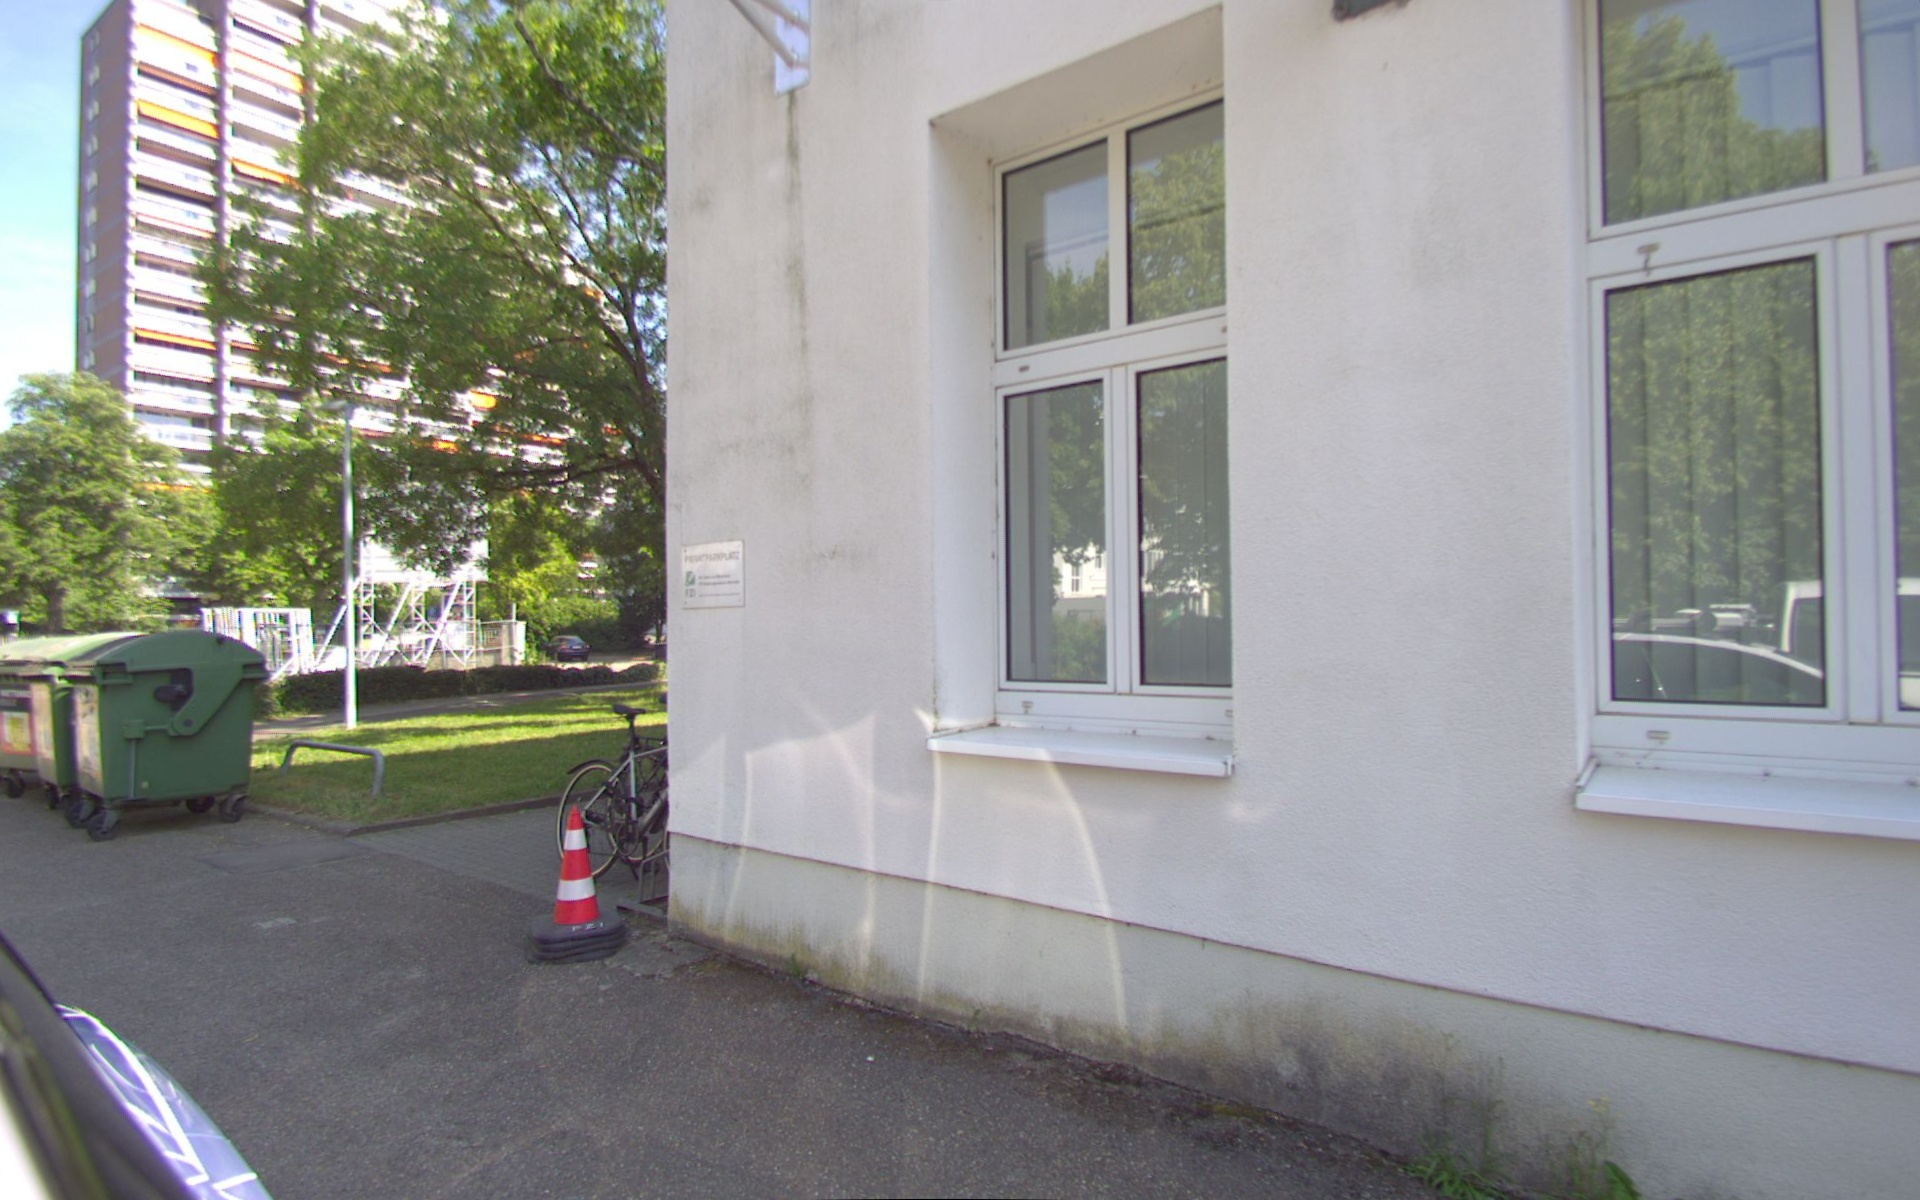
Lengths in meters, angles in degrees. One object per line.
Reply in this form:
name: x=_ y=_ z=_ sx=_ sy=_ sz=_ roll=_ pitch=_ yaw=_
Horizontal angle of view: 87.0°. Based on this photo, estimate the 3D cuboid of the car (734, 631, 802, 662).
car: x=-10.385 y=2.505 z=54.578 sx=1.779 sy=1.577 sz=4.399 roll=1 pitch=-3 yaw=-38

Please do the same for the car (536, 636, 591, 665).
car: x=-22.253 y=2.806 z=56.724 sx=1.813 sy=1.421 sz=4.156 roll=-1 pitch=0 yaw=-37

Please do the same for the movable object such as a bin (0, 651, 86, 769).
movable object such as a bin: x=-12.016 y=1.365 z=12.851 sx=1.227 sy=1.407 sz=1.407 roll=1 pitch=-2 yaw=-35

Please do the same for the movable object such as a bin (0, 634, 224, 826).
movable object such as a bin: x=-7.231 y=1.025 z=8.594 sx=1.363 sy=1.442 sz=1.233 roll=-2 pitch=-2 yaw=36

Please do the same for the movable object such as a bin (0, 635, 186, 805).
movable object such as a bin: x=-8.292 y=1.057 z=9.489 sx=1.217 sy=1.442 sz=1.237 roll=-2 pitch=-2 yaw=26

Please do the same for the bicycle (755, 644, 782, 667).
bicycle: x=-11.844 y=3.432 z=62.734 sx=0.487 sy=1.389 sz=1.997 roll=-2 pitch=-2 yaw=28

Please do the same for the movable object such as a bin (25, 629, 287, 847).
movable object such as a bin: x=-6.059 y=0.951 z=7.645 sx=1.347 sy=1.442 sz=1.233 roll=-2 pitch=-2 yaw=36

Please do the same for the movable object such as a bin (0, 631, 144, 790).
movable object such as a bin: x=-9.393 y=1.077 z=10.363 sx=1.334 sy=1.493 sz=1.235 roll=-2 pitch=-2 yaw=31

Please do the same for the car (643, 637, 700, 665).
car: x=-15.938 y=2.798 z=55.746 sx=1.627 sy=1.463 sz=4.008 roll=0 pitch=-2 yaw=-38

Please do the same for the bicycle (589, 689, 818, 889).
bicycle: x=-1.554 y=1.043 z=5.971 sx=1.629 sy=1.000 sz=0.440 roll=-3 pitch=-4 yaw=40

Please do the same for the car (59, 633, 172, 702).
car: x=-24.904 y=1.923 z=29.999 sx=1.889 sy=1.794 sz=4.325 roll=-1 pitch=-1 yaw=-31

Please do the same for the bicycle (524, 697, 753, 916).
bicycle: x=-1.797 y=1.055 z=5.549 sx=1.540 sy=1.000 sz=0.440 roll=-3 pitch=-4 yaw=40
